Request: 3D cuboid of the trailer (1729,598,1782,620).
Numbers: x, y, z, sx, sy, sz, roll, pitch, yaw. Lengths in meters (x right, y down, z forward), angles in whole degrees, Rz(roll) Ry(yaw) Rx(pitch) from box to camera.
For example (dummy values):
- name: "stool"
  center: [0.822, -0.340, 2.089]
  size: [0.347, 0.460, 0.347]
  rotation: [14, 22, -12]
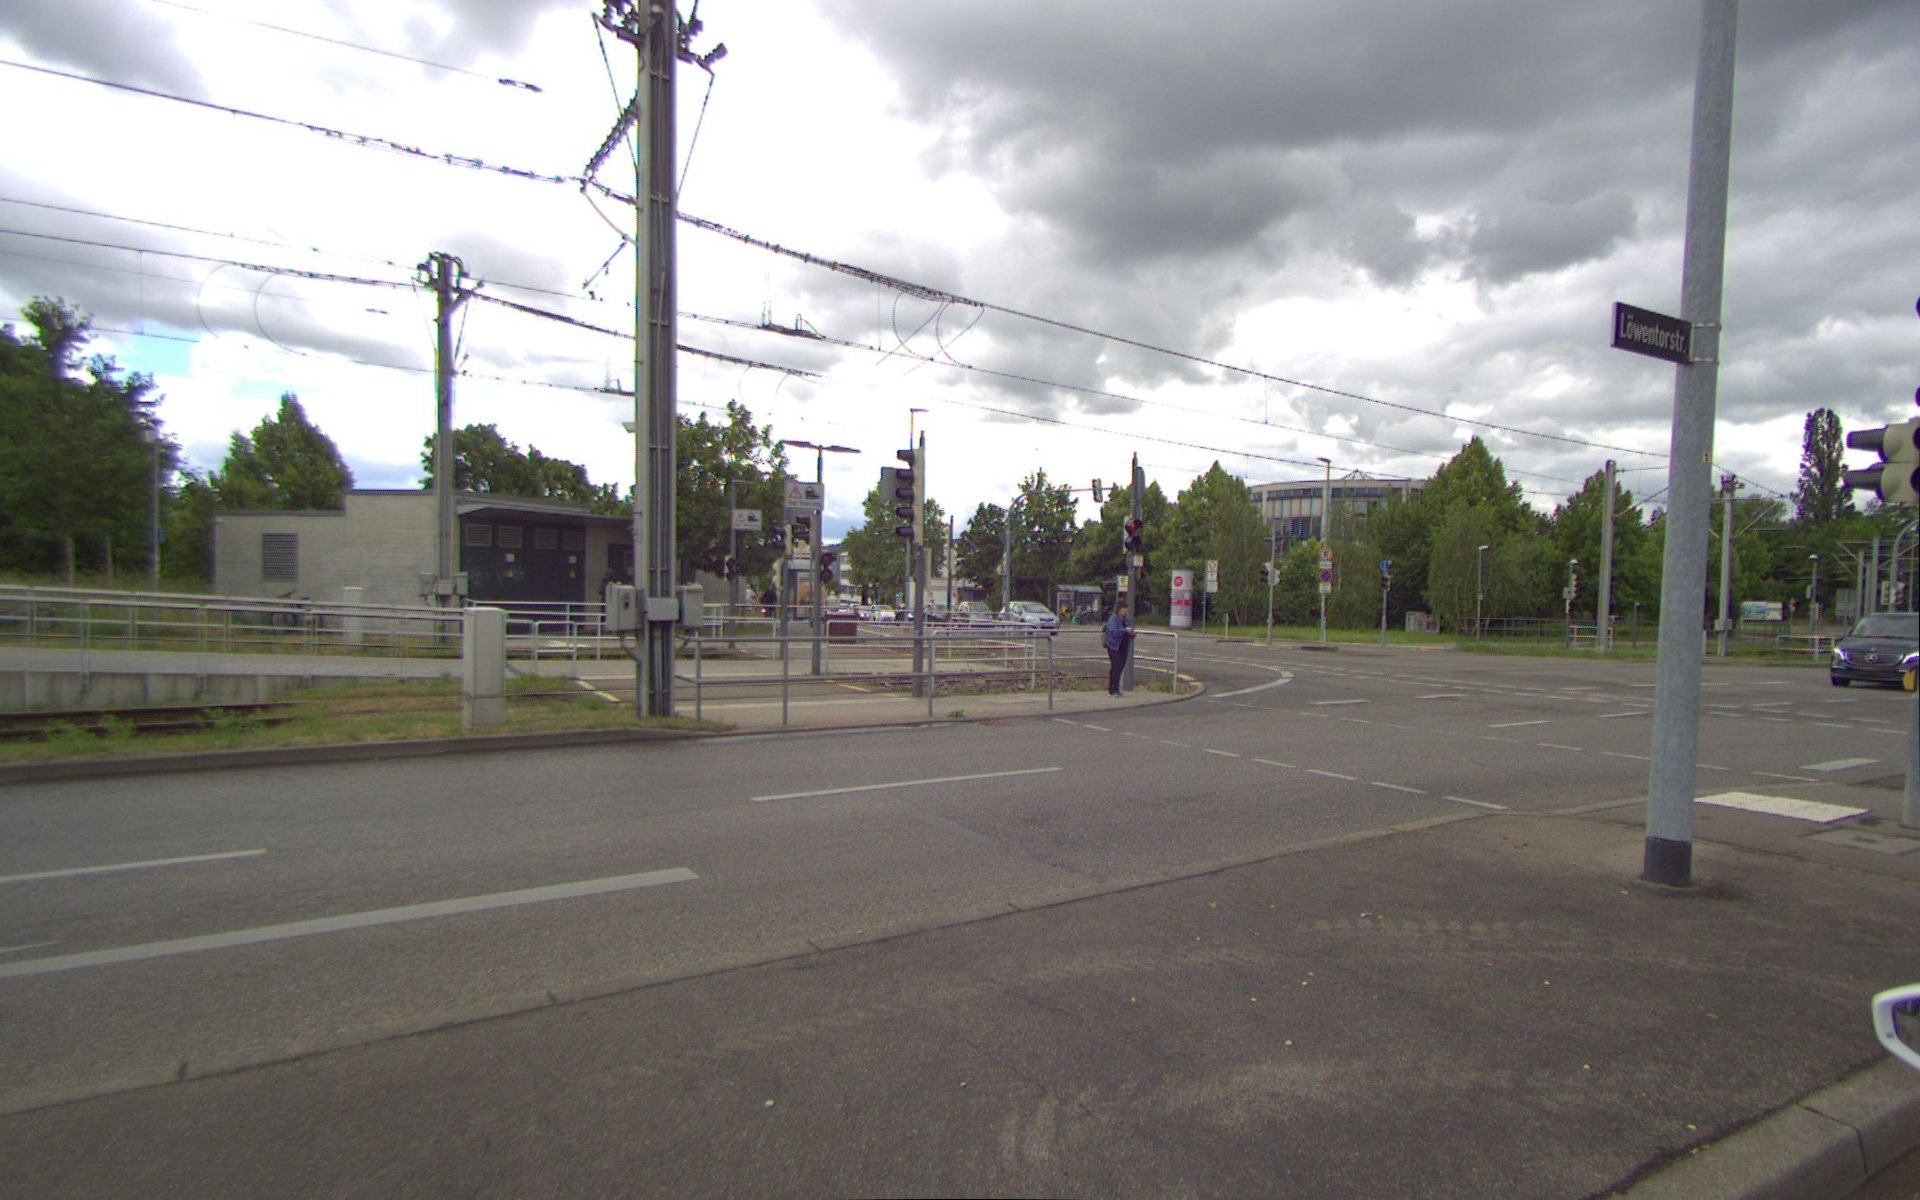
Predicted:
- name: "trailer"
  center: [116.039, 1.294, 146.534]
  size: [2.702, 3.052, 6.085]
  rotation: [2, 0, -2]

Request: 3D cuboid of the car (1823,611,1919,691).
- name: "car"
  center: [23.717, 1.237, 25.248]
  size: [5.041, 1.836, 1.875]
  rotation: [1, -1, -35]

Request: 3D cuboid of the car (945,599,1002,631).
- name: "car"
  center: [0.667, 0.790, 53.869]
  size: [1.776, 1.617, 3.982]
  rotation: [2, 0, -20]

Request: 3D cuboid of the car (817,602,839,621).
- name: "car"
  center: [-13.447, 1.148, 102.264]
  size: [1.869, 1.805, 3.990]
  rotation: [1, 0, -13]

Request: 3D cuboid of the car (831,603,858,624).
- name: "car"
  center: [-10.322, 1.183, 89.911]
  size: [1.869, 1.805, 3.988]
  rotation: [1, 0, -14]

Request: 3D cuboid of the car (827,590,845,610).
- name: "car"
  center: [-14.612, 0.001, 118.110]
  size: [1.964, 2.218, 5.800]
  rotation: [1, 0, -9]

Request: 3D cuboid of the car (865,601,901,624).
- name: "car"
  center: [-5.764, 0.920, 74.902]
  size: [1.775, 1.617, 3.985]
  rotation: [2, 0, -17]

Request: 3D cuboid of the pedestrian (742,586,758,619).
- name: "pedestrian"
  center: [-10.235, 0.133, 48.986]
  size: [0.633, 1.557, 0.521]
  rotation: [2, 0, -2]

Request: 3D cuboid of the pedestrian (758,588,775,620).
- name: "pedestrian"
  center: [-8.601, 0.183, 44.687]
  size: [0.591, 1.377, 0.616]
  rotation: [2, 0, -2]

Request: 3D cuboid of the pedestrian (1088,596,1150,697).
- name: "pedestrian"
  center: [2.537, 0.730, 16.032]
  size: [0.712, 1.557, 0.630]
  rotation: [2, 0, -33]

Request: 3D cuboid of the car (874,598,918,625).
- name: "car"
  center: [-4.149, 0.693, 64.579]
  size: [1.776, 1.617, 3.982]
  rotation: [2, 0, -20]

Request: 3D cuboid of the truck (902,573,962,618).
- name: "truck"
  center: [-2.532, -0.419, 86.106]
  size: [2.966, 3.580, 9.254]
  rotation: [1, 0, -15]

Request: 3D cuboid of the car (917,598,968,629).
- name: "car"
  center: [-1.063, 0.757, 58.042]
  size: [1.776, 1.617, 3.982]
  rotation: [2, 0, -20]

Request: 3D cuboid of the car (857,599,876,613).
- name: "car"
  center: [-11.577, 0.746, 124.919]
  size: [2.007, 1.617, 3.999]
  rotation: [2, 0, -1]

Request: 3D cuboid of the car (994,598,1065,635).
- name: "car"
  center: [3.198, 0.730, 46.903]
  size: [1.848, 1.617, 3.982]
  rotation: [2, 0, -20]

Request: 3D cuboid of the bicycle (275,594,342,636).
- name: "bicycle"
  center: [-17.352, 0.392, 26.743]
  size: [1.778, 1.045, 0.536]
  rotation: [2, 0, 21]

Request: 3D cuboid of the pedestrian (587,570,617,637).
- name: "pedestrian"
  center: [-9.604, 0.094, 26.939]
  size: [0.700, 1.751, 0.674]
  rotation: [2, 0, -19]
